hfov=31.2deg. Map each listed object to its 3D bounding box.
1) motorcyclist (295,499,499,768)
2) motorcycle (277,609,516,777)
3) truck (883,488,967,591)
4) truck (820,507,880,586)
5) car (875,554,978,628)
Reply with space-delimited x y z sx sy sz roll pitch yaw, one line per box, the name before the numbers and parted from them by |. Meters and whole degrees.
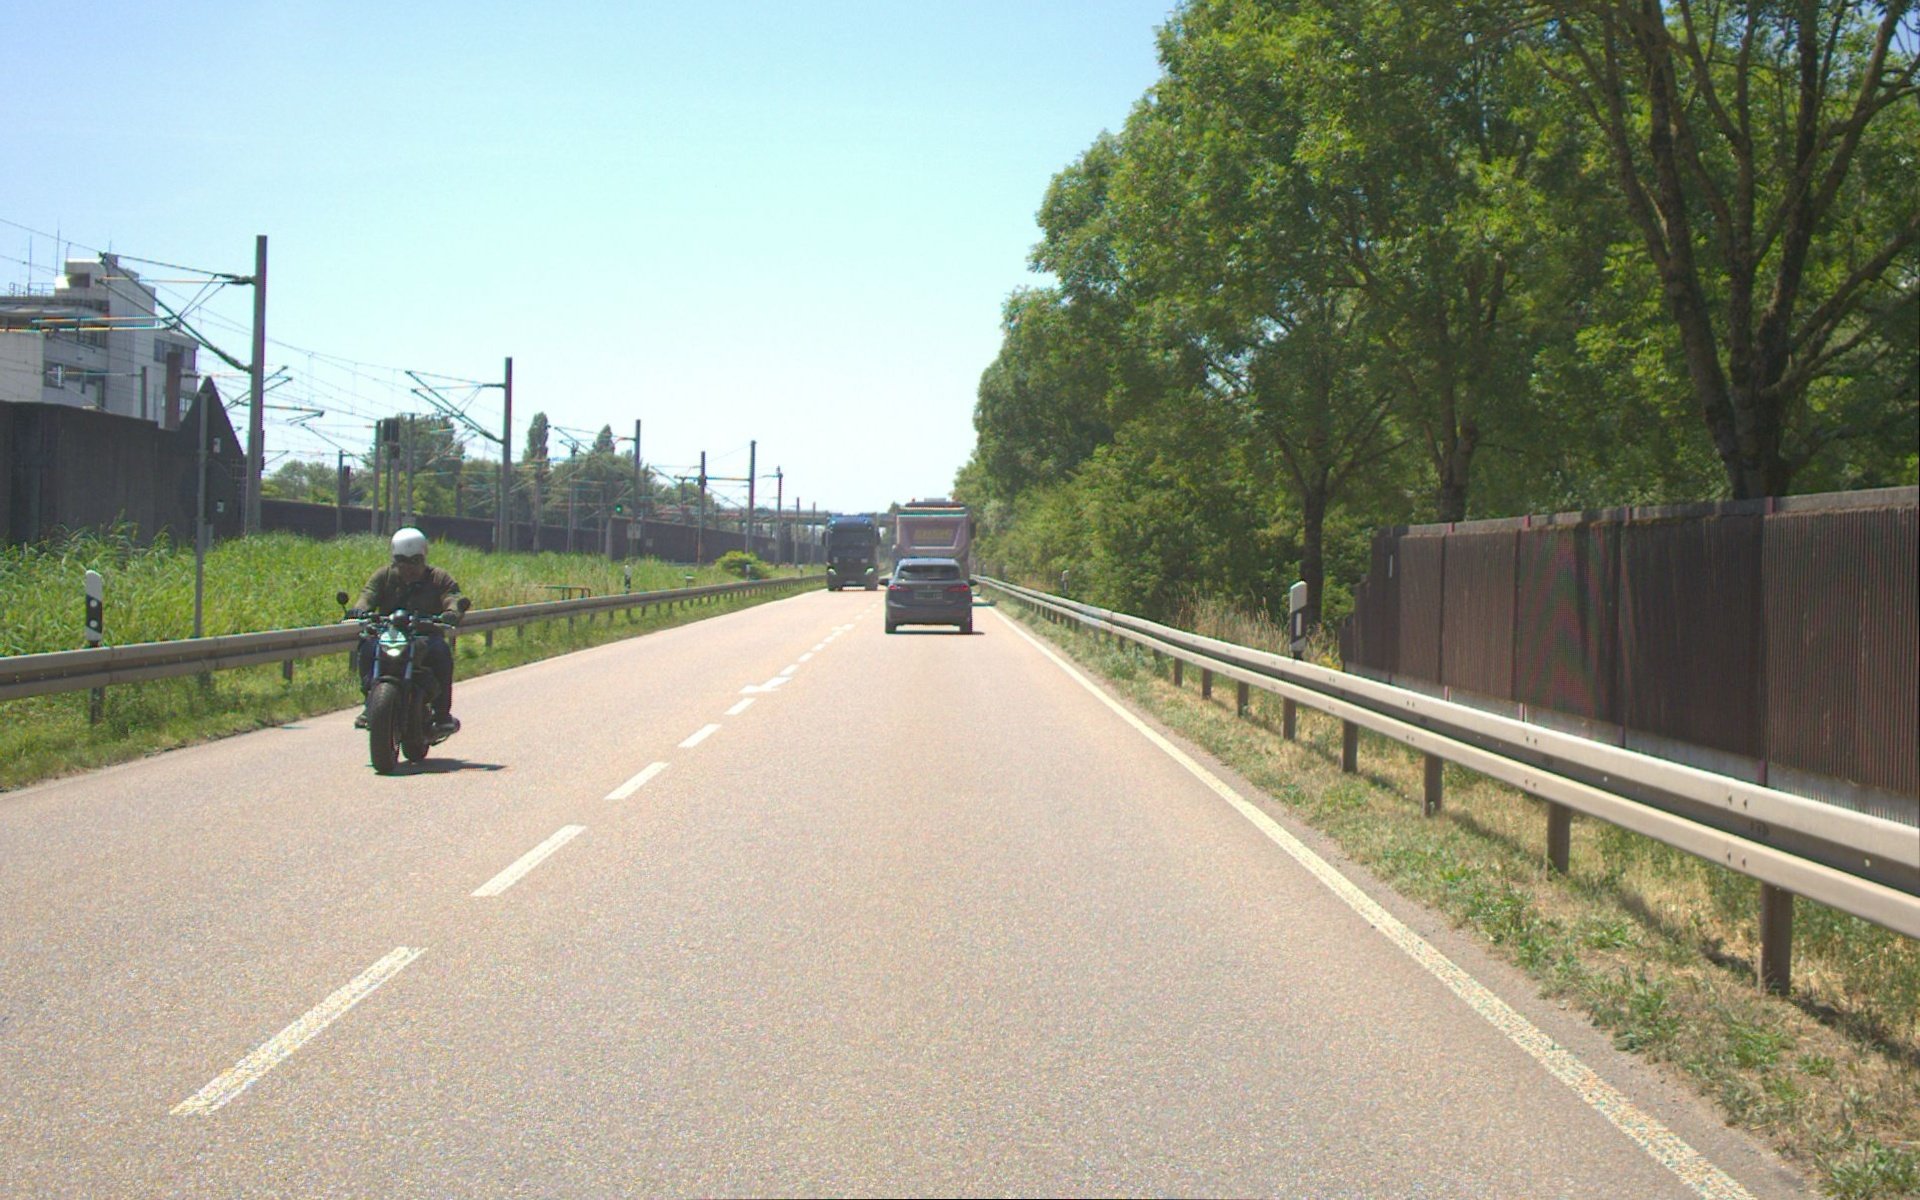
motorcyclist | -3.988 0.224 24.479 1.254 1.858 1.245 0 1 -1
motorcycle | -3.981 0.626 24.625 1.237 1.069 3.129 0 1 -1
truck | -1.215 -2.081 120.692 2.770 3.414 10.820 1 0 0
truck | -5.673 -2.776 179.150 2.797 3.964 10.500 -1 1 0
car | -0.732 -0.210 71.920 1.993 1.503 4.001 0 1 -3
